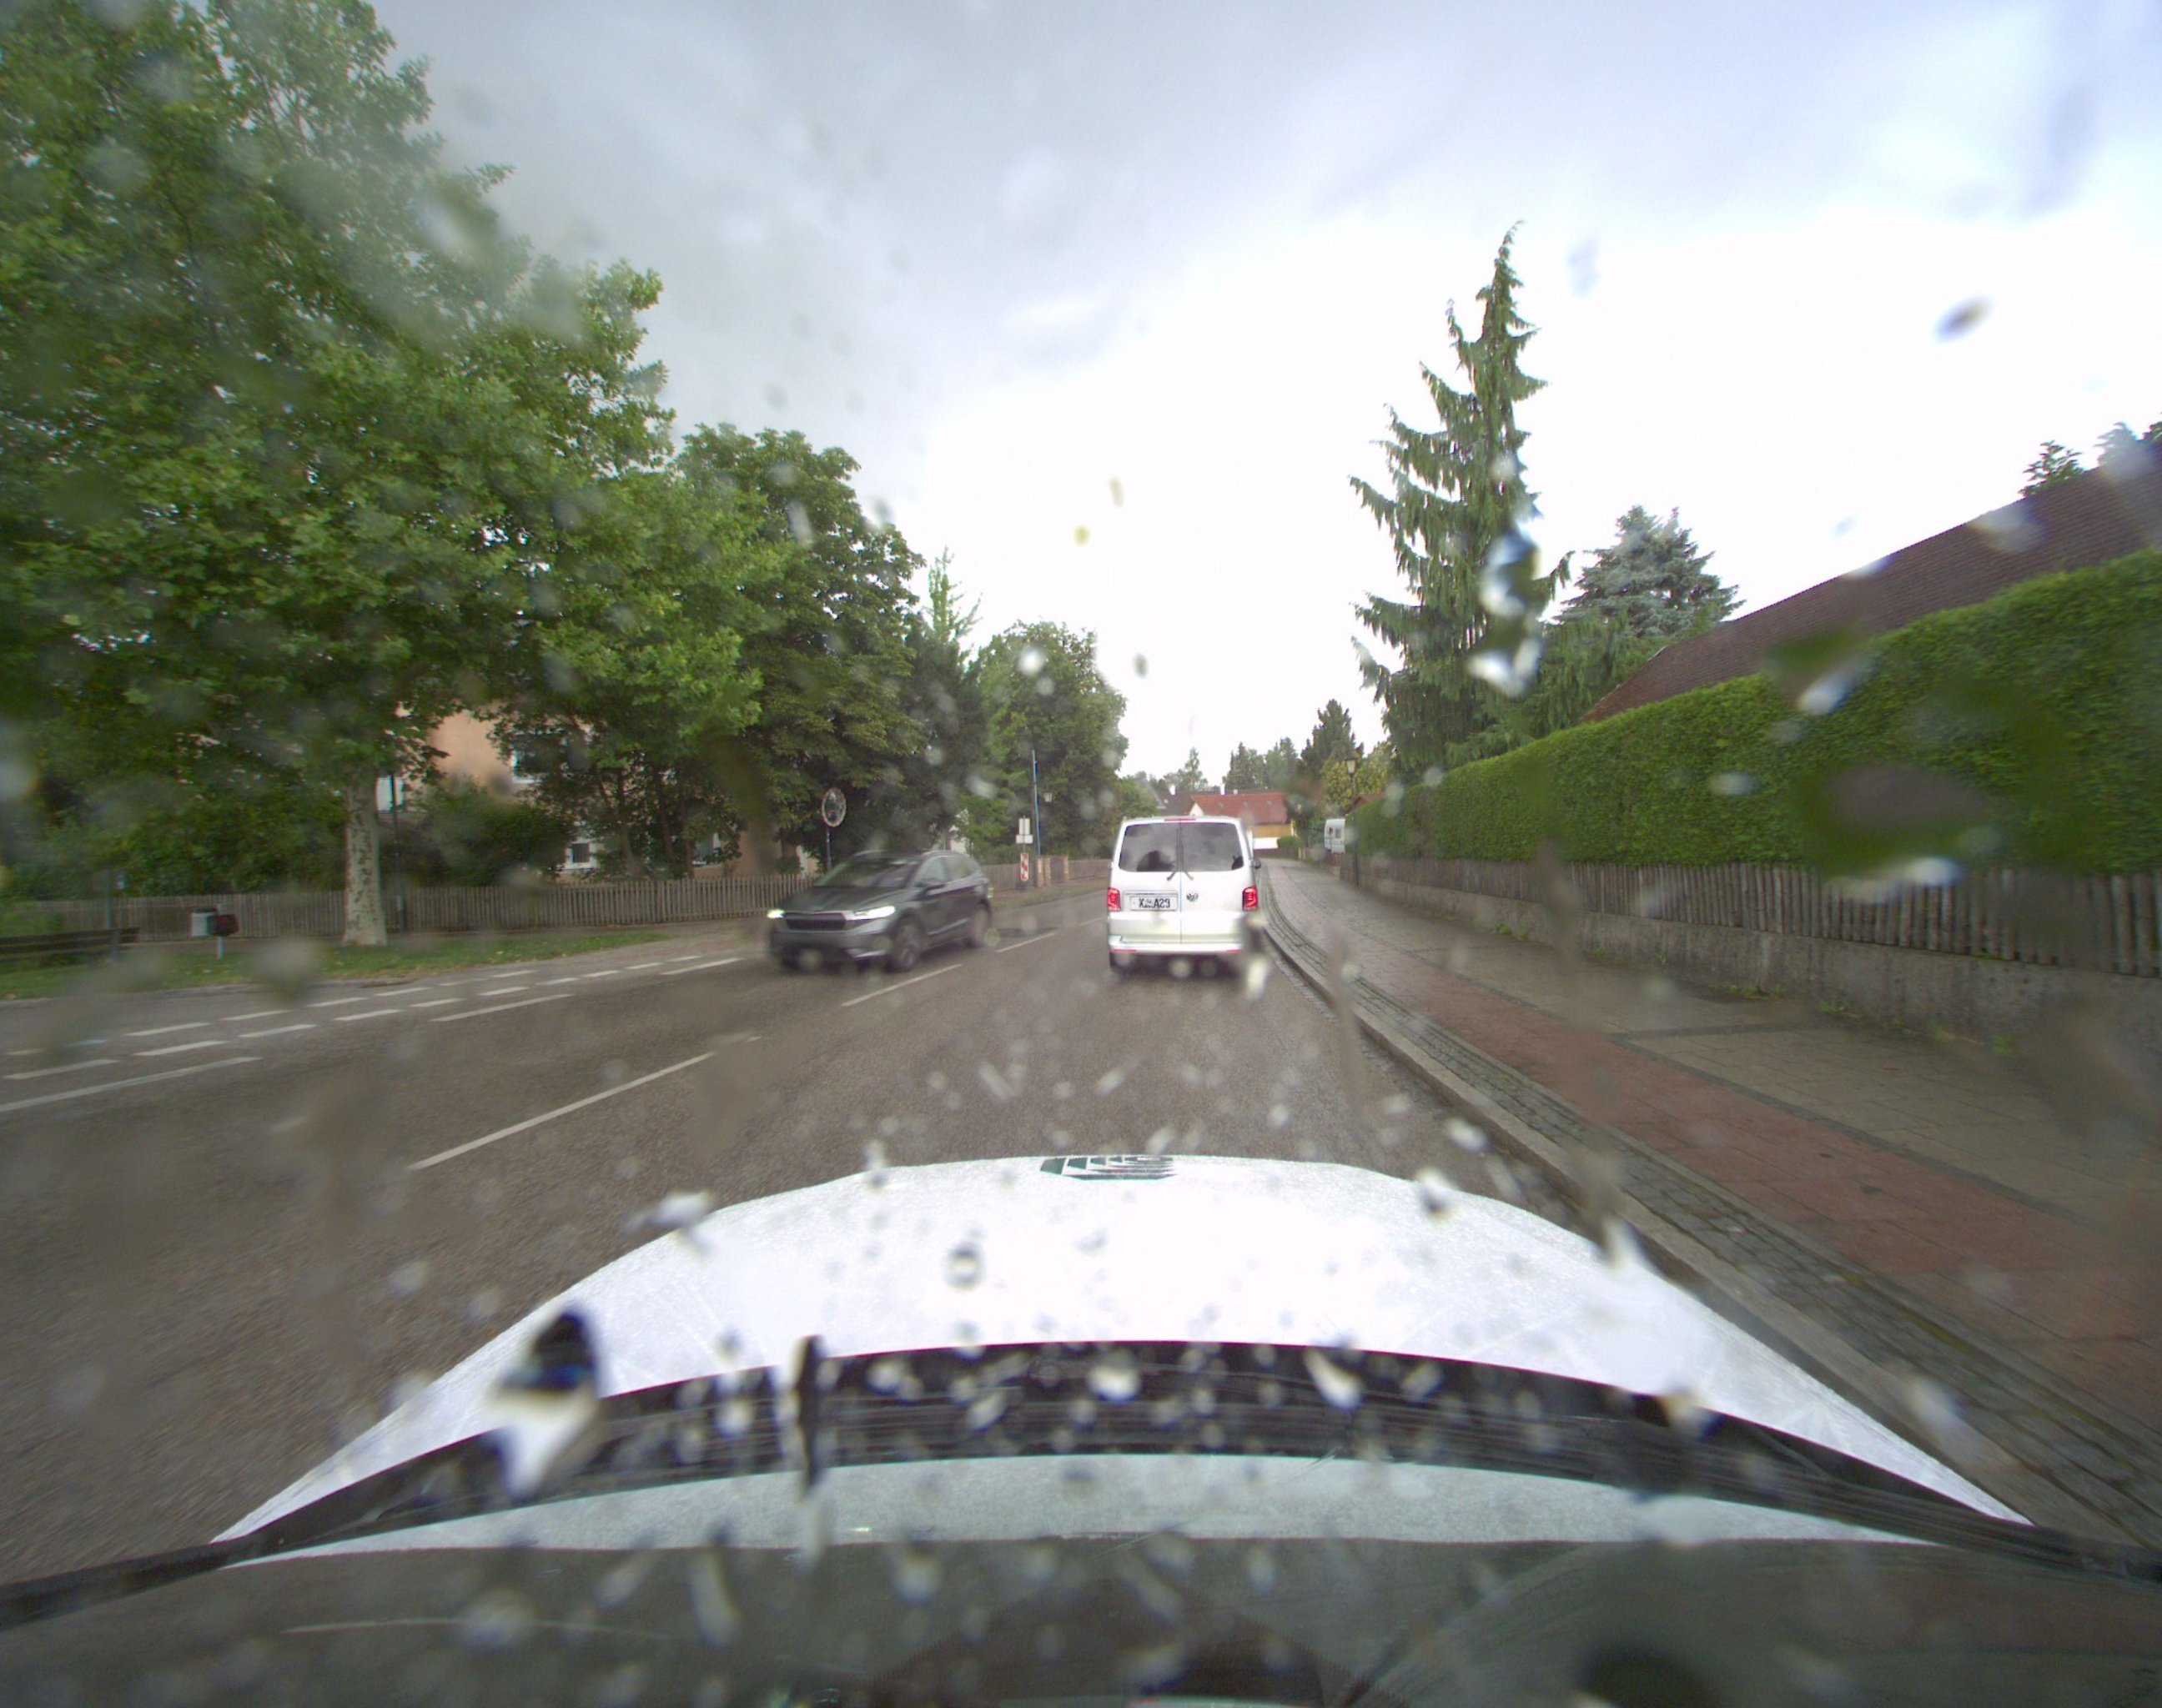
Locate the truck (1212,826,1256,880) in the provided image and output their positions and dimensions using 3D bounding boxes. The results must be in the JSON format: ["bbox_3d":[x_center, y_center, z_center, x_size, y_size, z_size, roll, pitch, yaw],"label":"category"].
[{"bbox_3d":[9.391,-0.001,49.761,2.459,3.074,6.316,-1,-1,12],"label":"truck"}]

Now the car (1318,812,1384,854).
[{"bbox_3d":[15.094,-1.091,45.774,1.988,2.173,4.950,0,-1,-1],"label":"car"}]

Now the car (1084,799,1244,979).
[{"bbox_3d":[1.216,0.418,11.197,1.790,2.014,4.009,-1,-1,8],"label":"car"}]

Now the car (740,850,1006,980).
[{"bbox_3d":[-2.842,0.748,12.257,1.978,1.595,4.209,-1,0,16],"label":"car"}]

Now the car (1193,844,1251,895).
[{"bbox_3d":[4.845,0.512,27.676,1.789,1.588,4.013,-1,-1,12],"label":"car"}]

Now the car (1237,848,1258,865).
[{"bbox_3d":[15.407,0.224,75.341,1.789,1.508,4.013,-1,-1,12],"label":"car"}]
